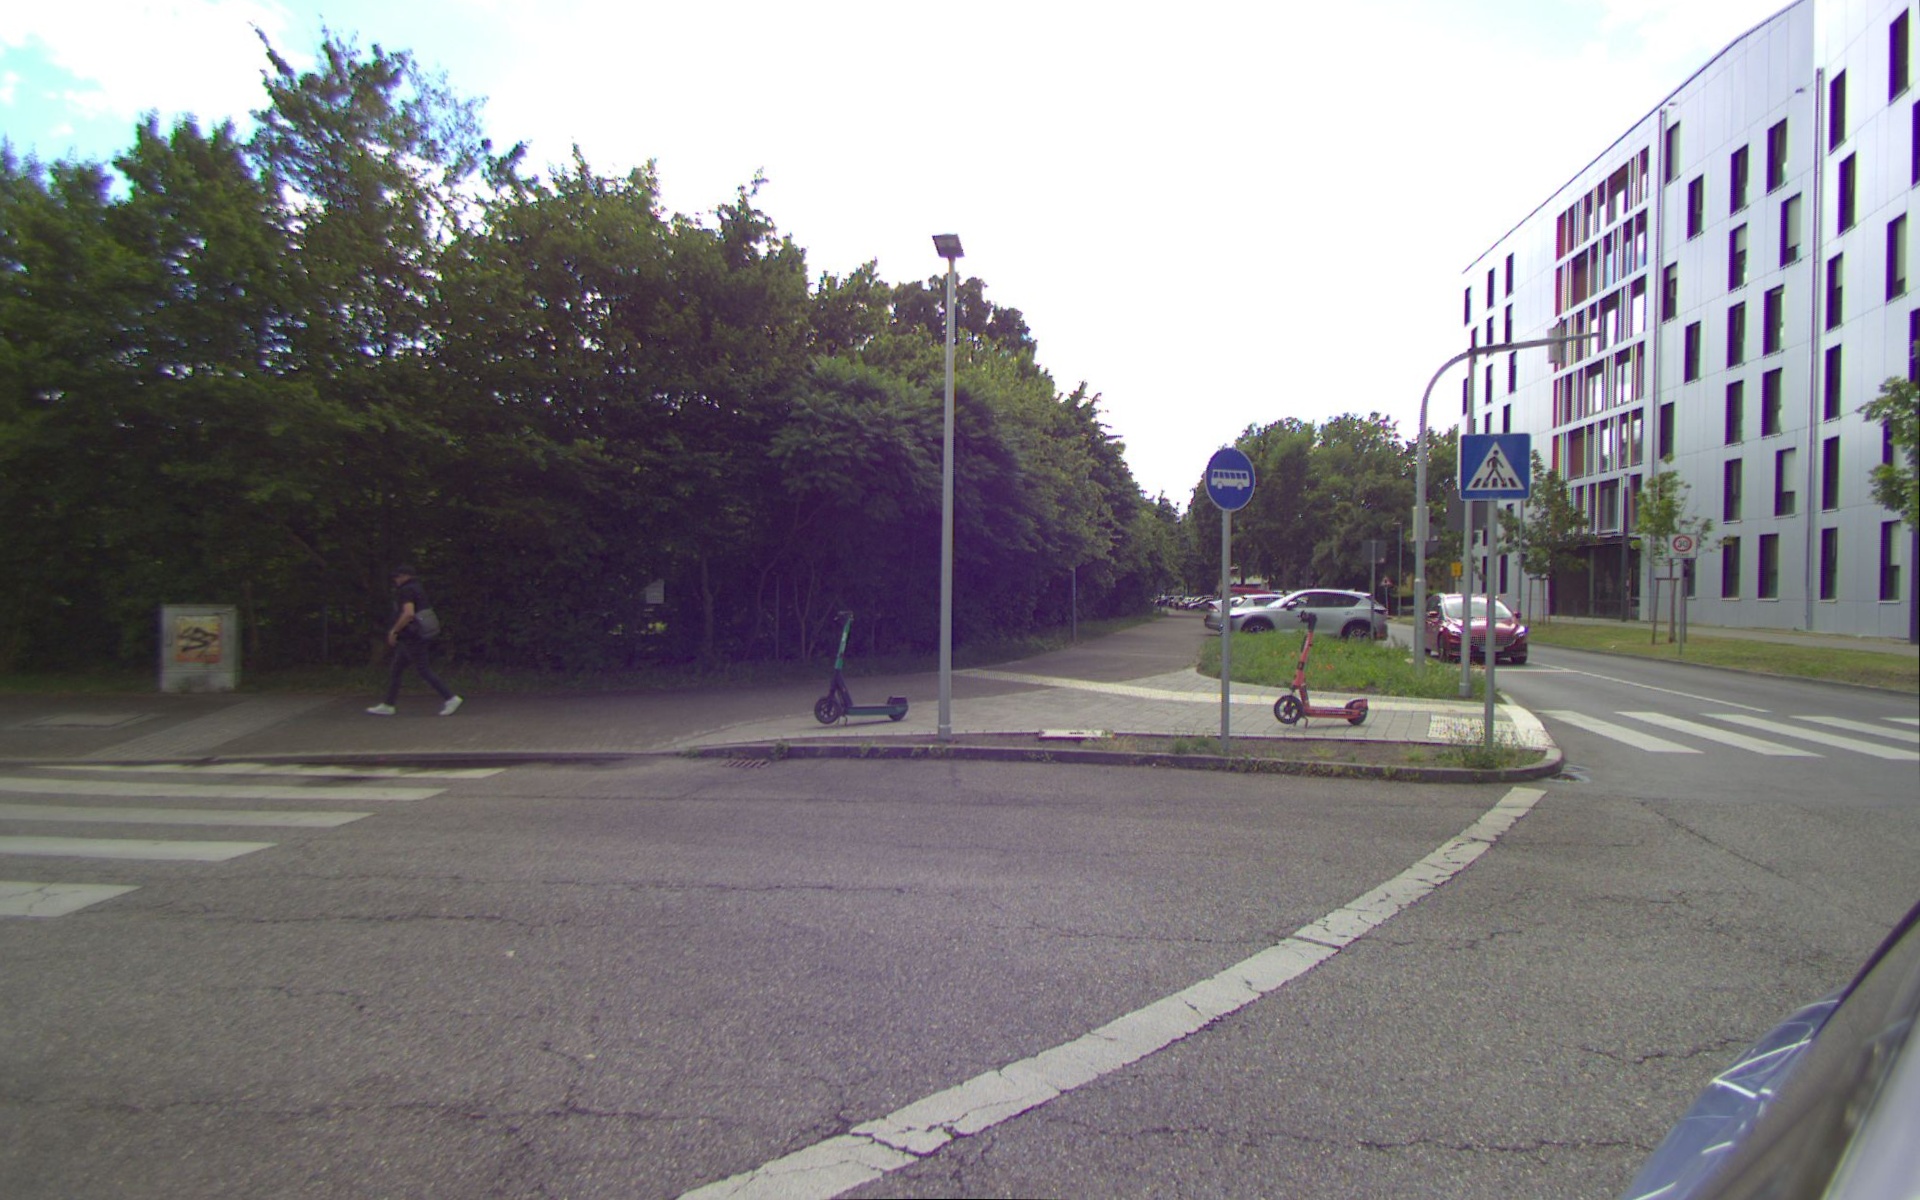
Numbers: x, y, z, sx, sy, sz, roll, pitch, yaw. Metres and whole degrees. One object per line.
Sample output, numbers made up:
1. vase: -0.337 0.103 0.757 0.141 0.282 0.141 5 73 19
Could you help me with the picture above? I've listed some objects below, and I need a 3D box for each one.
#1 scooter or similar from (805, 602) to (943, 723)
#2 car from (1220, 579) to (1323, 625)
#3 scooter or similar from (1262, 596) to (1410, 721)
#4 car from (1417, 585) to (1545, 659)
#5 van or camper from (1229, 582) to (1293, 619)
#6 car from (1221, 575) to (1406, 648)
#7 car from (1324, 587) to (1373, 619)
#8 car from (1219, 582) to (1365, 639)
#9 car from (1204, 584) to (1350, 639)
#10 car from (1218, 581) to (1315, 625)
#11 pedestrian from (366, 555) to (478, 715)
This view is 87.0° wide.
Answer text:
1. scooter or similar: -0.991 0.686 11.733 1.466 1.290 0.622 -1 1 -31
2. car: 13.994 0.085 45.694 4.231 1.916 1.830 2 0 14
3. scooter or similar: 4.204 0.628 11.326 1.493 1.329 0.573 0 0 -16
4. car: 12.744 0.476 25.058 1.906 1.652 4.223 -1 0 15
5. van or camper: 20.106 0.042 67.663 3.922 2.349 1.876 -1 0 14
6. car: 9.822 0.289 28.518 4.591 1.774 2.063 3 0 12
7. car: 20.909 0.130 54.618 1.790 1.638 3.986 2 1 12
8. car: 10.151 0.301 31.231 4.106 1.606 1.788 1 0 14
9. car: 10.416 0.352 33.613 4.425 1.582 1.903 2 1 14
10. car: 15.341 0.126 50.896 4.498 1.923 1.876 3 1 14
11. pedestrian: -6.457 0.399 12.203 0.964 1.845 0.859 0 0 -10
